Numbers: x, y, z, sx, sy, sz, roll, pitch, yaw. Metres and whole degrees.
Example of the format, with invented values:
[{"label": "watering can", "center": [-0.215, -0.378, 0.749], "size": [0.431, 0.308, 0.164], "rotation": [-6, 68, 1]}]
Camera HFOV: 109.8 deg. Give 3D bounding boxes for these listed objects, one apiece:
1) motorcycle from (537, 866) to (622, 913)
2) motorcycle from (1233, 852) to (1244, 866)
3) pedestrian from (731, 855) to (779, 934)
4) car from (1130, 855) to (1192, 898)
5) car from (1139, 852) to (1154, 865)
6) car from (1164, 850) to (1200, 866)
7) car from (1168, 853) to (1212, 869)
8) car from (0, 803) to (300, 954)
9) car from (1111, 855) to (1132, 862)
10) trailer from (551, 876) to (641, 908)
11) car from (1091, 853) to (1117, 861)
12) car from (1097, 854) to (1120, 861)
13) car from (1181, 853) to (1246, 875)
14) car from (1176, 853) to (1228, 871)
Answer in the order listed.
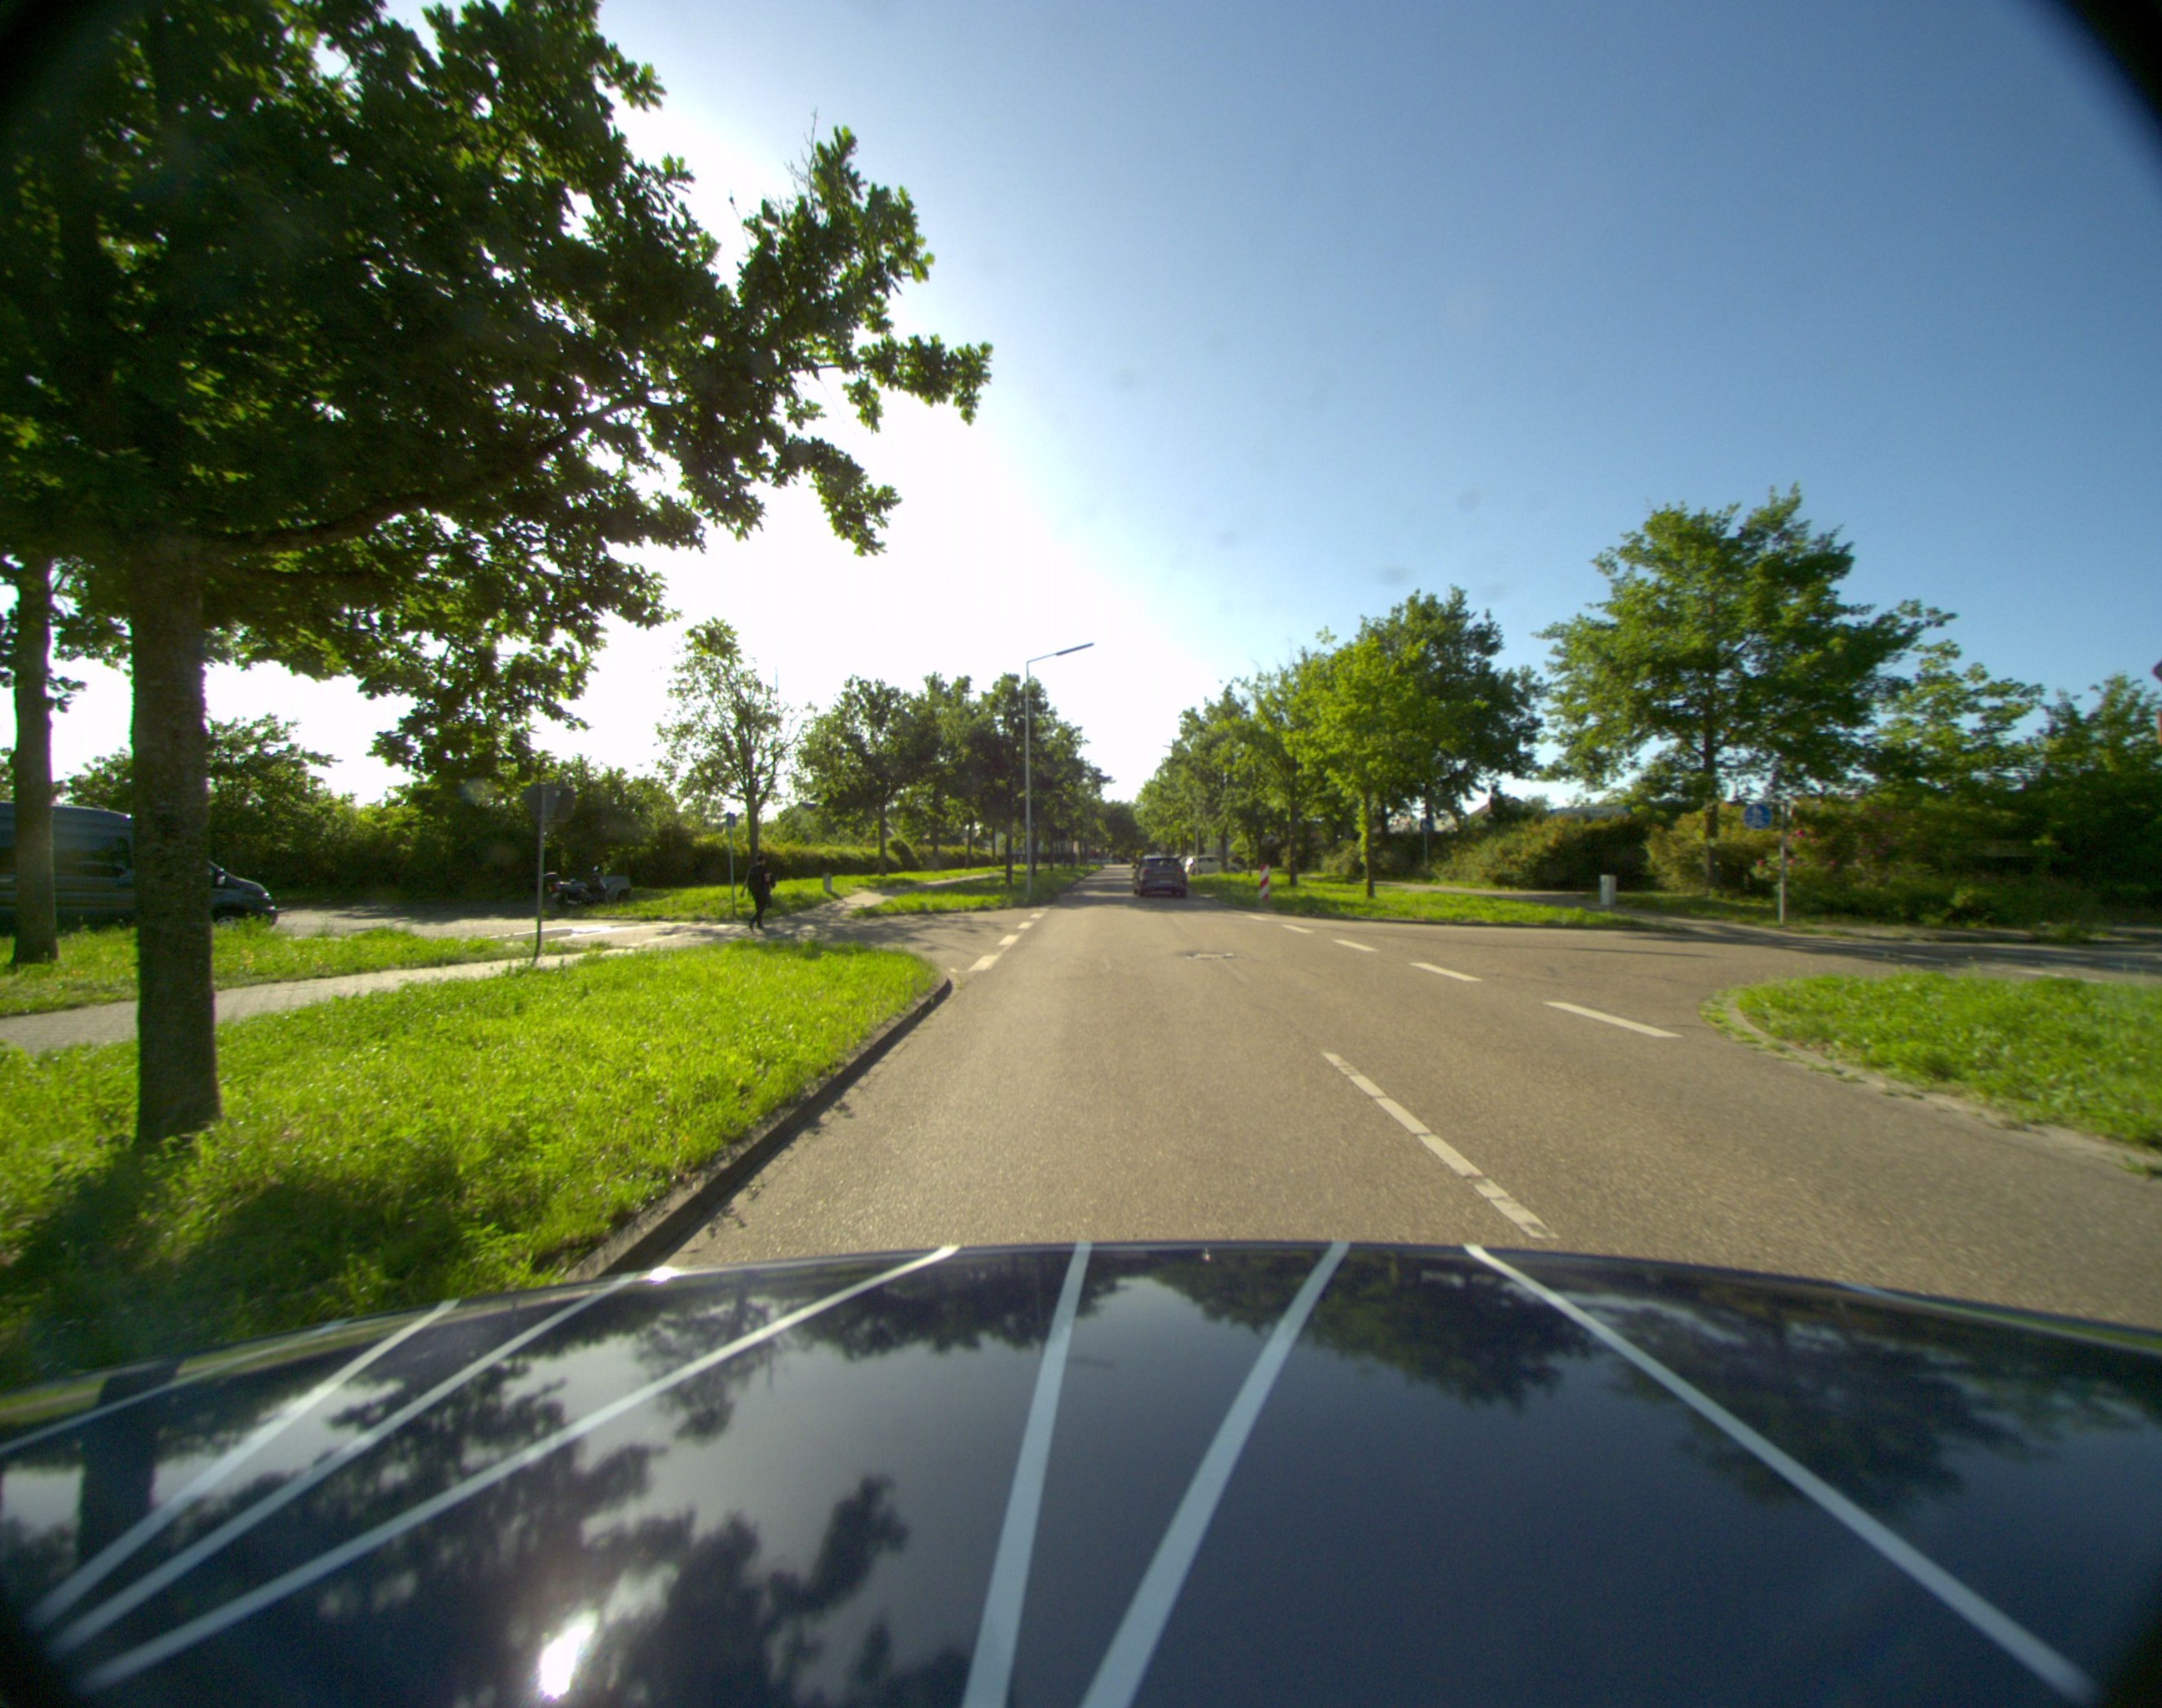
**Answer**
[{"label": "motorcycle", "center": [-16.007, 1.101, 24.359], "size": [0.664, 1.225, 2.407], "rotation": [0, 4, 13]}, {"label": "motorcycle", "center": [16.460, 0.491, 79.462], "size": [0.739, 1.424, 1.991], "rotation": [-4, 0, 4]}, {"label": "pedestrian", "center": [-7.557, 0.921, 17.655], "size": [0.727, 1.802, 0.867], "rotation": [0, 1, 1]}, {"label": "car", "center": [3.031, 0.821, 29.550], "size": [1.809, 1.527, 4.495], "rotation": [1, 0, -1]}, {"label": "car", "center": [8.102, 0.547, 93.996], "size": [1.769, 1.520, 4.497], "rotation": [1, 0, 4]}, {"label": "car", "center": [12.622, 0.509, 95.239], "size": [4.237, 1.872, 1.999], "rotation": [-2, 0, 3]}, {"label": "car", "center": [11.472, 0.688, 79.987], "size": [4.422, 1.547, 2.089], "rotation": [-2, 0, 5]}, {"label": "car", "center": [-19.020, 0.491, 14.146], "size": [2.087, 2.550, 5.980], "rotation": [-2, -3, 13]}, {"label": "car", "center": [9.094, 1.031, 171.111], "size": [4.510, 1.470, 1.942], "rotation": [0, 0, 5]}, {"label": "trailer", "center": [-16.768, 1.292, 26.328], "size": [1.581, 0.863, 2.055], "rotation": [0, 4, 13]}, {"label": "car", "center": [4.124, 0.552, 136.576], "size": [4.510, 1.470, 1.942], "rotation": [0, 0, 5]}, {"label": "car", "center": [5.433, 0.715, 150.233], "size": [4.510, 1.470, 1.942], "rotation": [0, 0, 5]}, {"label": "car", "center": [10.271, 0.748, 59.032], "size": [4.638, 1.549, 2.191], "rotation": [-2, 0, -1]}, {"label": "car", "center": [11.050, 0.723, 69.707], "size": [4.422, 1.502, 2.088], "rotation": [-2, 0, 3]}]
